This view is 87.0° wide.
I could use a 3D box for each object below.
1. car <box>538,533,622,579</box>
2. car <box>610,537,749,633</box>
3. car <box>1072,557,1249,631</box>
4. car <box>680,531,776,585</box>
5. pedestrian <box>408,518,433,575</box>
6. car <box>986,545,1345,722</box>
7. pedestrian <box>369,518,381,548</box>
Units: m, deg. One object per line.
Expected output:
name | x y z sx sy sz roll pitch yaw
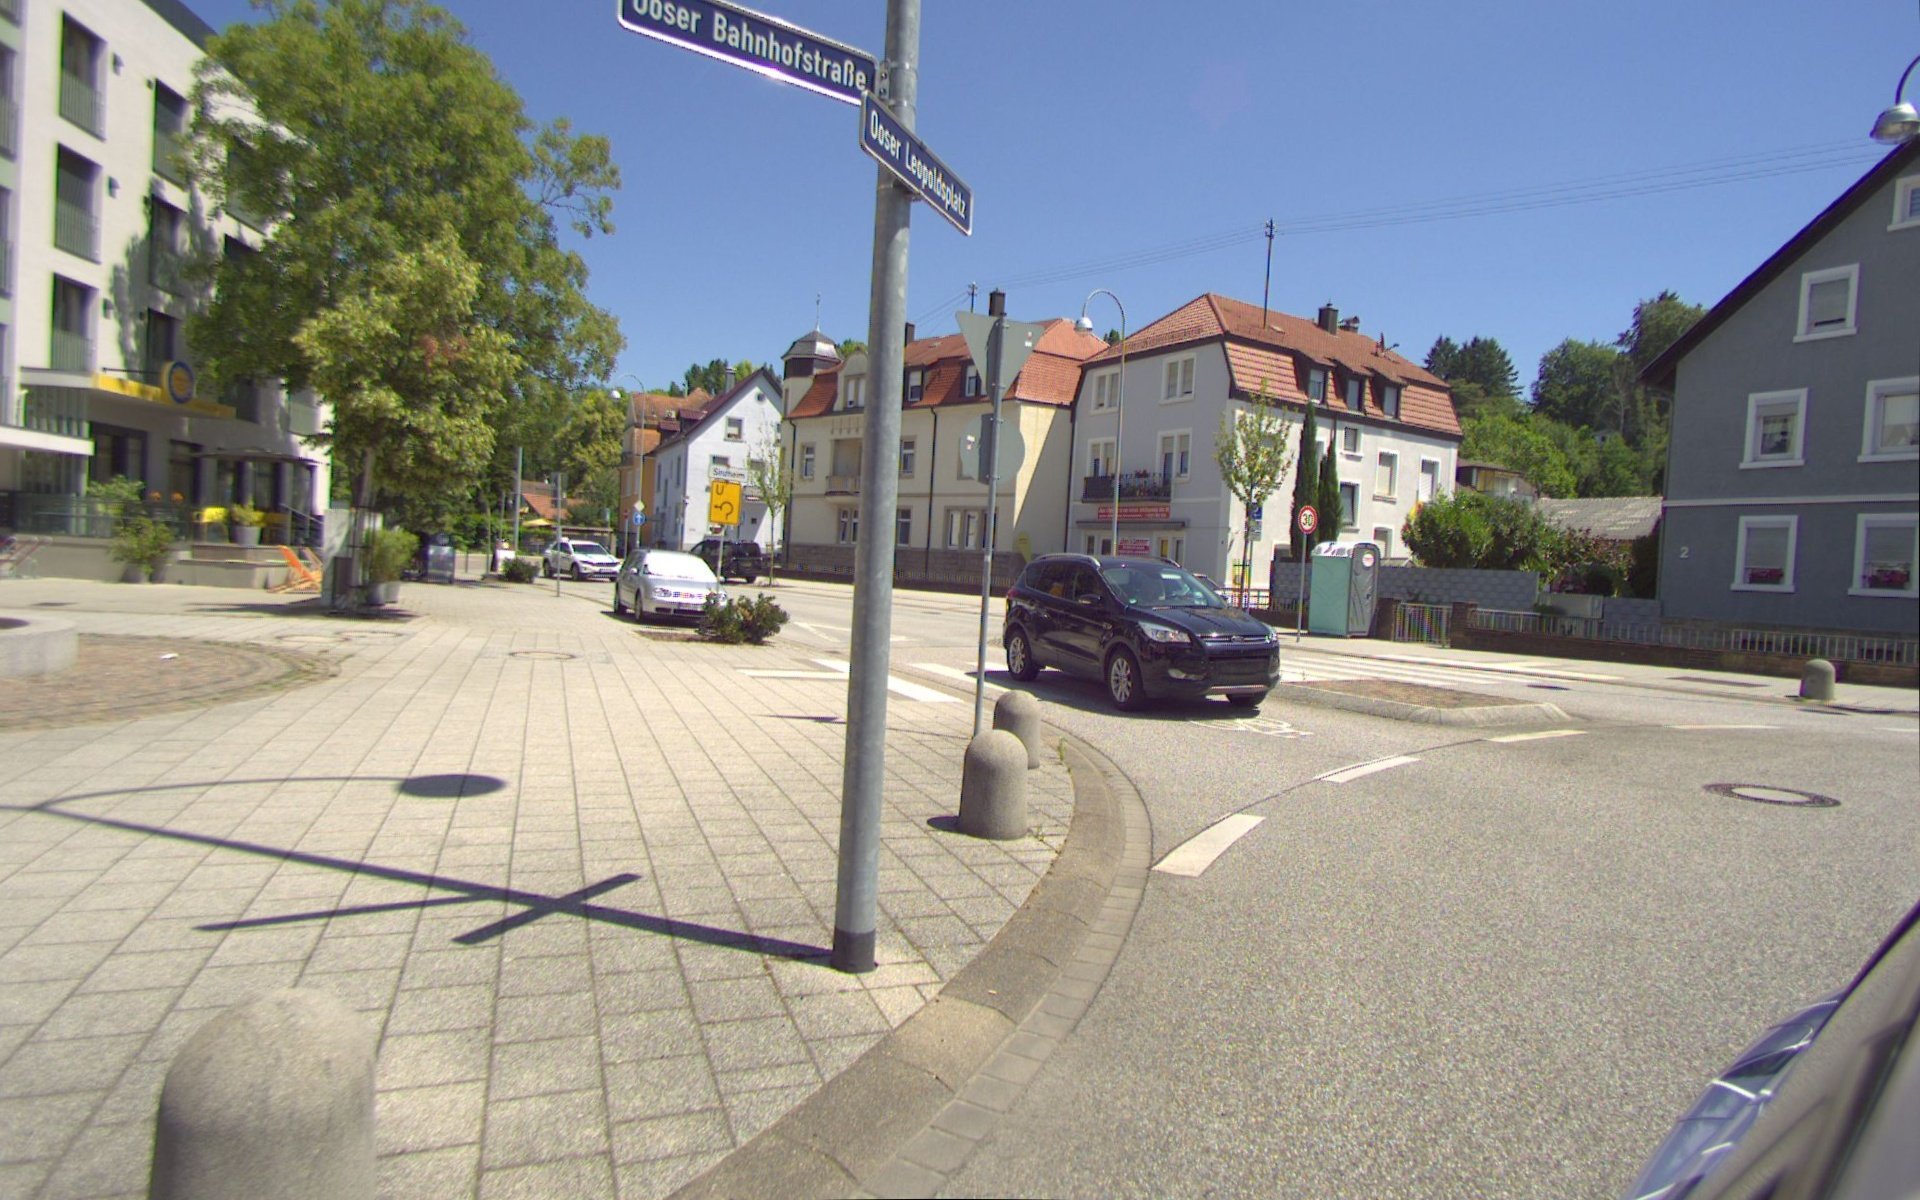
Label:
car | -15.166 -1.767 40.310 1.805 1.593 3.995 0 4 -42
car | -5.739 -0.370 20.365 1.765 1.609 4.008 4 2 -28
car | 5.111 -0.238 26.282 1.964 1.603 4.286 -4 6 -38
car | -10.091 -1.842 43.865 4.278 1.887 1.968 8 4 44
pedestrian | -16.141 -1.612 30.278 0.650 1.648 0.400 7 3 44
car | 2.198 0.226 12.312 1.958 1.709 4.537 1 3 -24
pedestrian | -36.326 -4.159 62.870 0.538 1.836 0.847 4 3 -31
